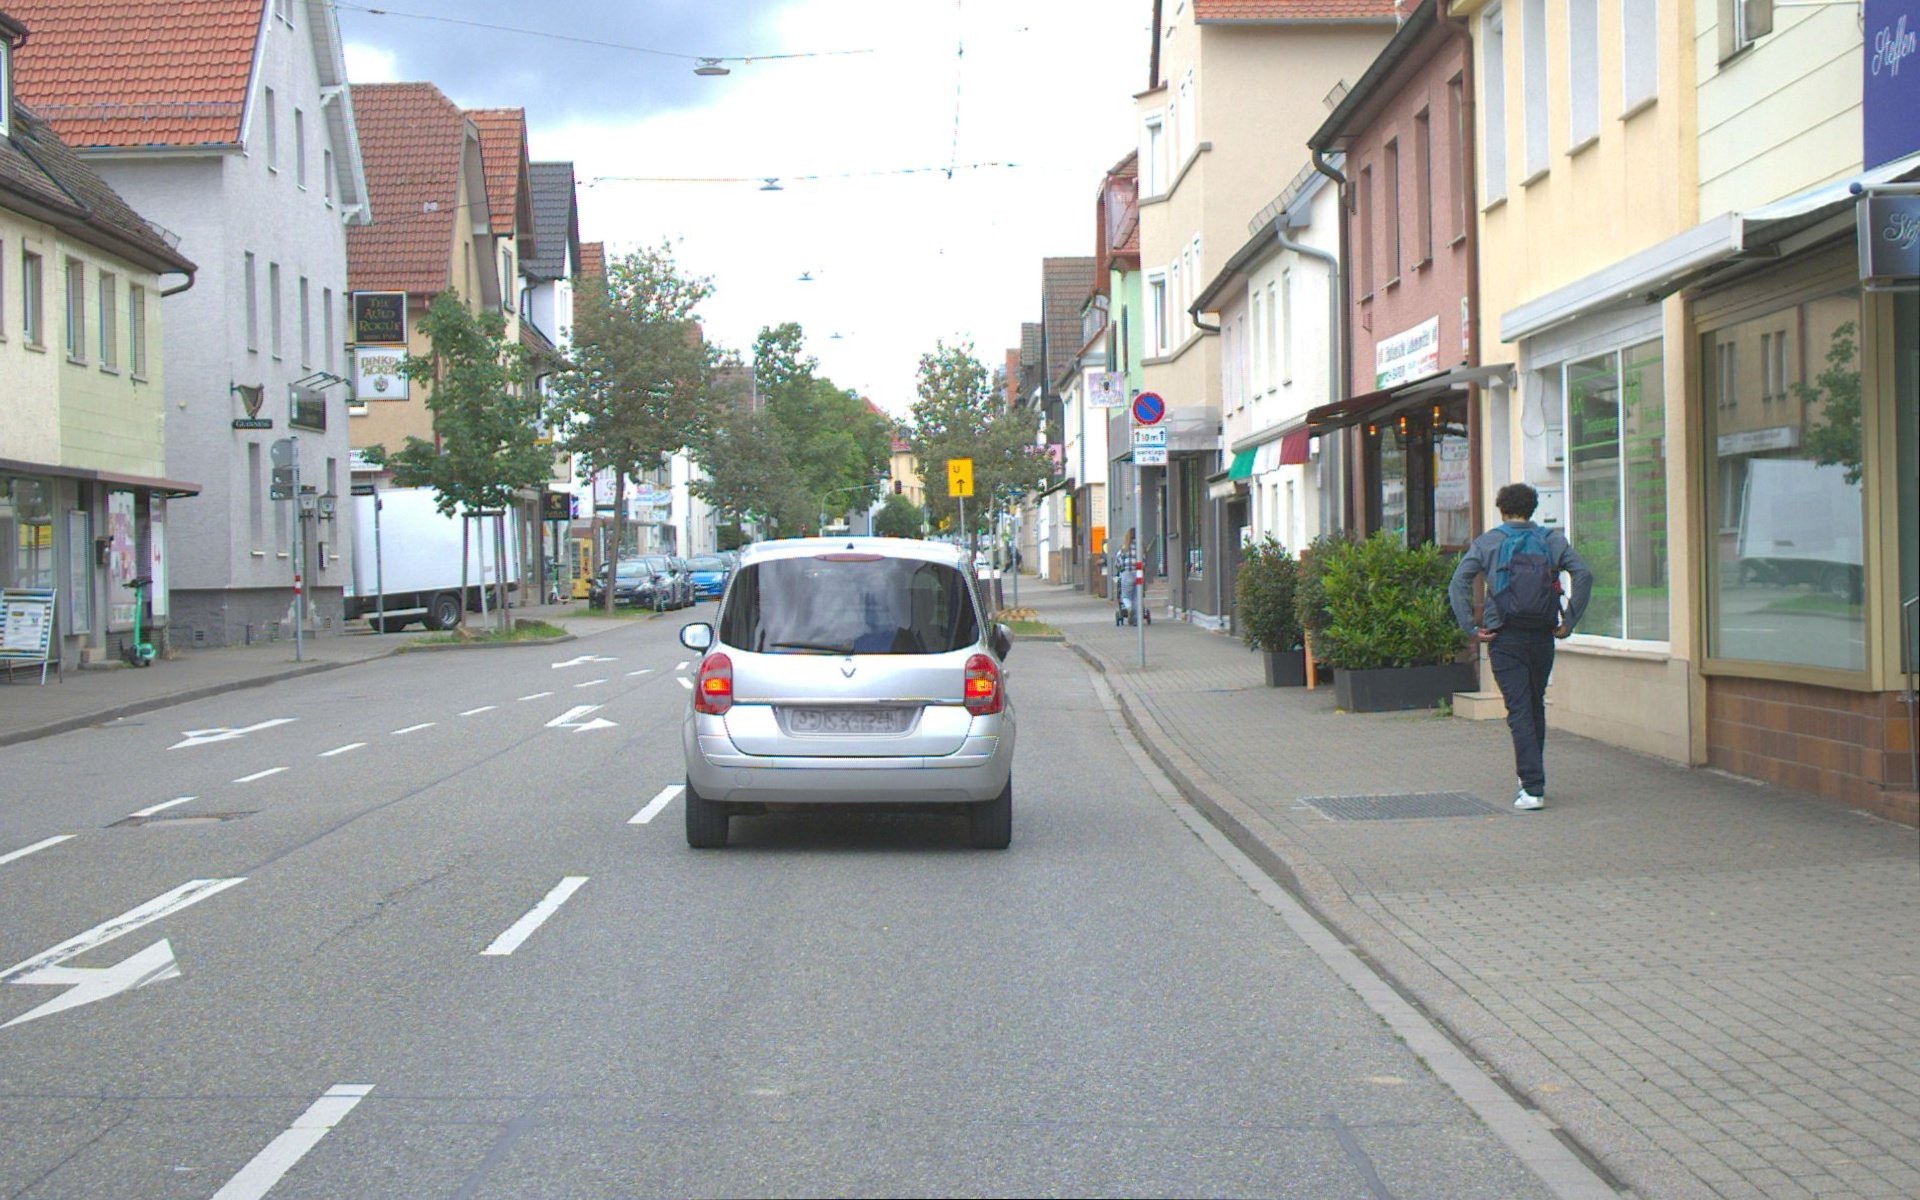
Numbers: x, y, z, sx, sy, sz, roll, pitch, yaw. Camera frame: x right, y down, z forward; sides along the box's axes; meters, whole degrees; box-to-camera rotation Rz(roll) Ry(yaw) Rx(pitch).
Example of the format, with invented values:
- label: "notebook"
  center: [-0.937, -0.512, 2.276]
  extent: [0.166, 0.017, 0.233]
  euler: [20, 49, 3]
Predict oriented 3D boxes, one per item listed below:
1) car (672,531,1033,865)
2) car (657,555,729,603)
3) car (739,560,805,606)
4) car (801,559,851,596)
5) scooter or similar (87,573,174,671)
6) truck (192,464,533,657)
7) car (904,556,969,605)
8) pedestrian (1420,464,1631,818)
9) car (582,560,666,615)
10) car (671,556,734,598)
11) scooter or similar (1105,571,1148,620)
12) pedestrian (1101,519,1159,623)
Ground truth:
- label: "car"
  center: [-0.574, 0.453, 18.659]
  extent: [1.706, 1.573, 4.000]
  euler: [2, 1, -2]
- label: "car"
  center: [-7.761, -0.623, 100.074]
  extent: [1.812, 1.349, 4.000]
  euler: [-1, 1, -1]
- label: "car"
  center: [-5.748, -0.546, 105.493]
  extent: [1.812, 1.349, 3.857]
  euler: [-1, 1, -1]
- label: "car"
  center: [-5.106, -0.860, 131.422]
  extent: [1.812, 1.349, 4.000]
  euler: [-1, 1, -1]
- label: "scooter or similar"
  center: [-11.216, 0.278, 46.546]
  extent: [0.575, 1.265, 2.548]
  euler: [-1, 1, -1]
- label: "truck"
  center: [-12.396, -0.845, 71.831]
  extent: [2.602, 3.844, 6.832]
  euler: [0, 1, 42]
- label: "car"
  center: [-0.686, -0.569, 98.772]
  extent: [1.812, 1.349, 4.000]
  euler: [-1, 1, -1]
- label: "pedestrian"
  center: [2.970, 0.205, 18.122]
  extent: [0.889, 1.781, 0.785]
  euler: [-3, 1, -1]
- label: "car"
  center: [-8.648, -0.332, 88.695]
  extent: [1.812, 1.349, 4.000]
  euler: [-1, 1, -1]
- label: "car"
  center: [-8.625, -0.794, 115.416]
  extent: [1.812, 1.349, 4.000]
  euler: [-1, 1, -1]
- label: "scooter or similar"
  center: [2.972, -0.078, 61.443]
  extent: [0.680, 0.830, 0.823]
  euler: [-3, 1, -1]
- label: "pedestrian"
  center: [3.002, -0.519, 60.679]
  extent: [0.889, 1.781, 0.785]
  euler: [-3, 1, -1]
